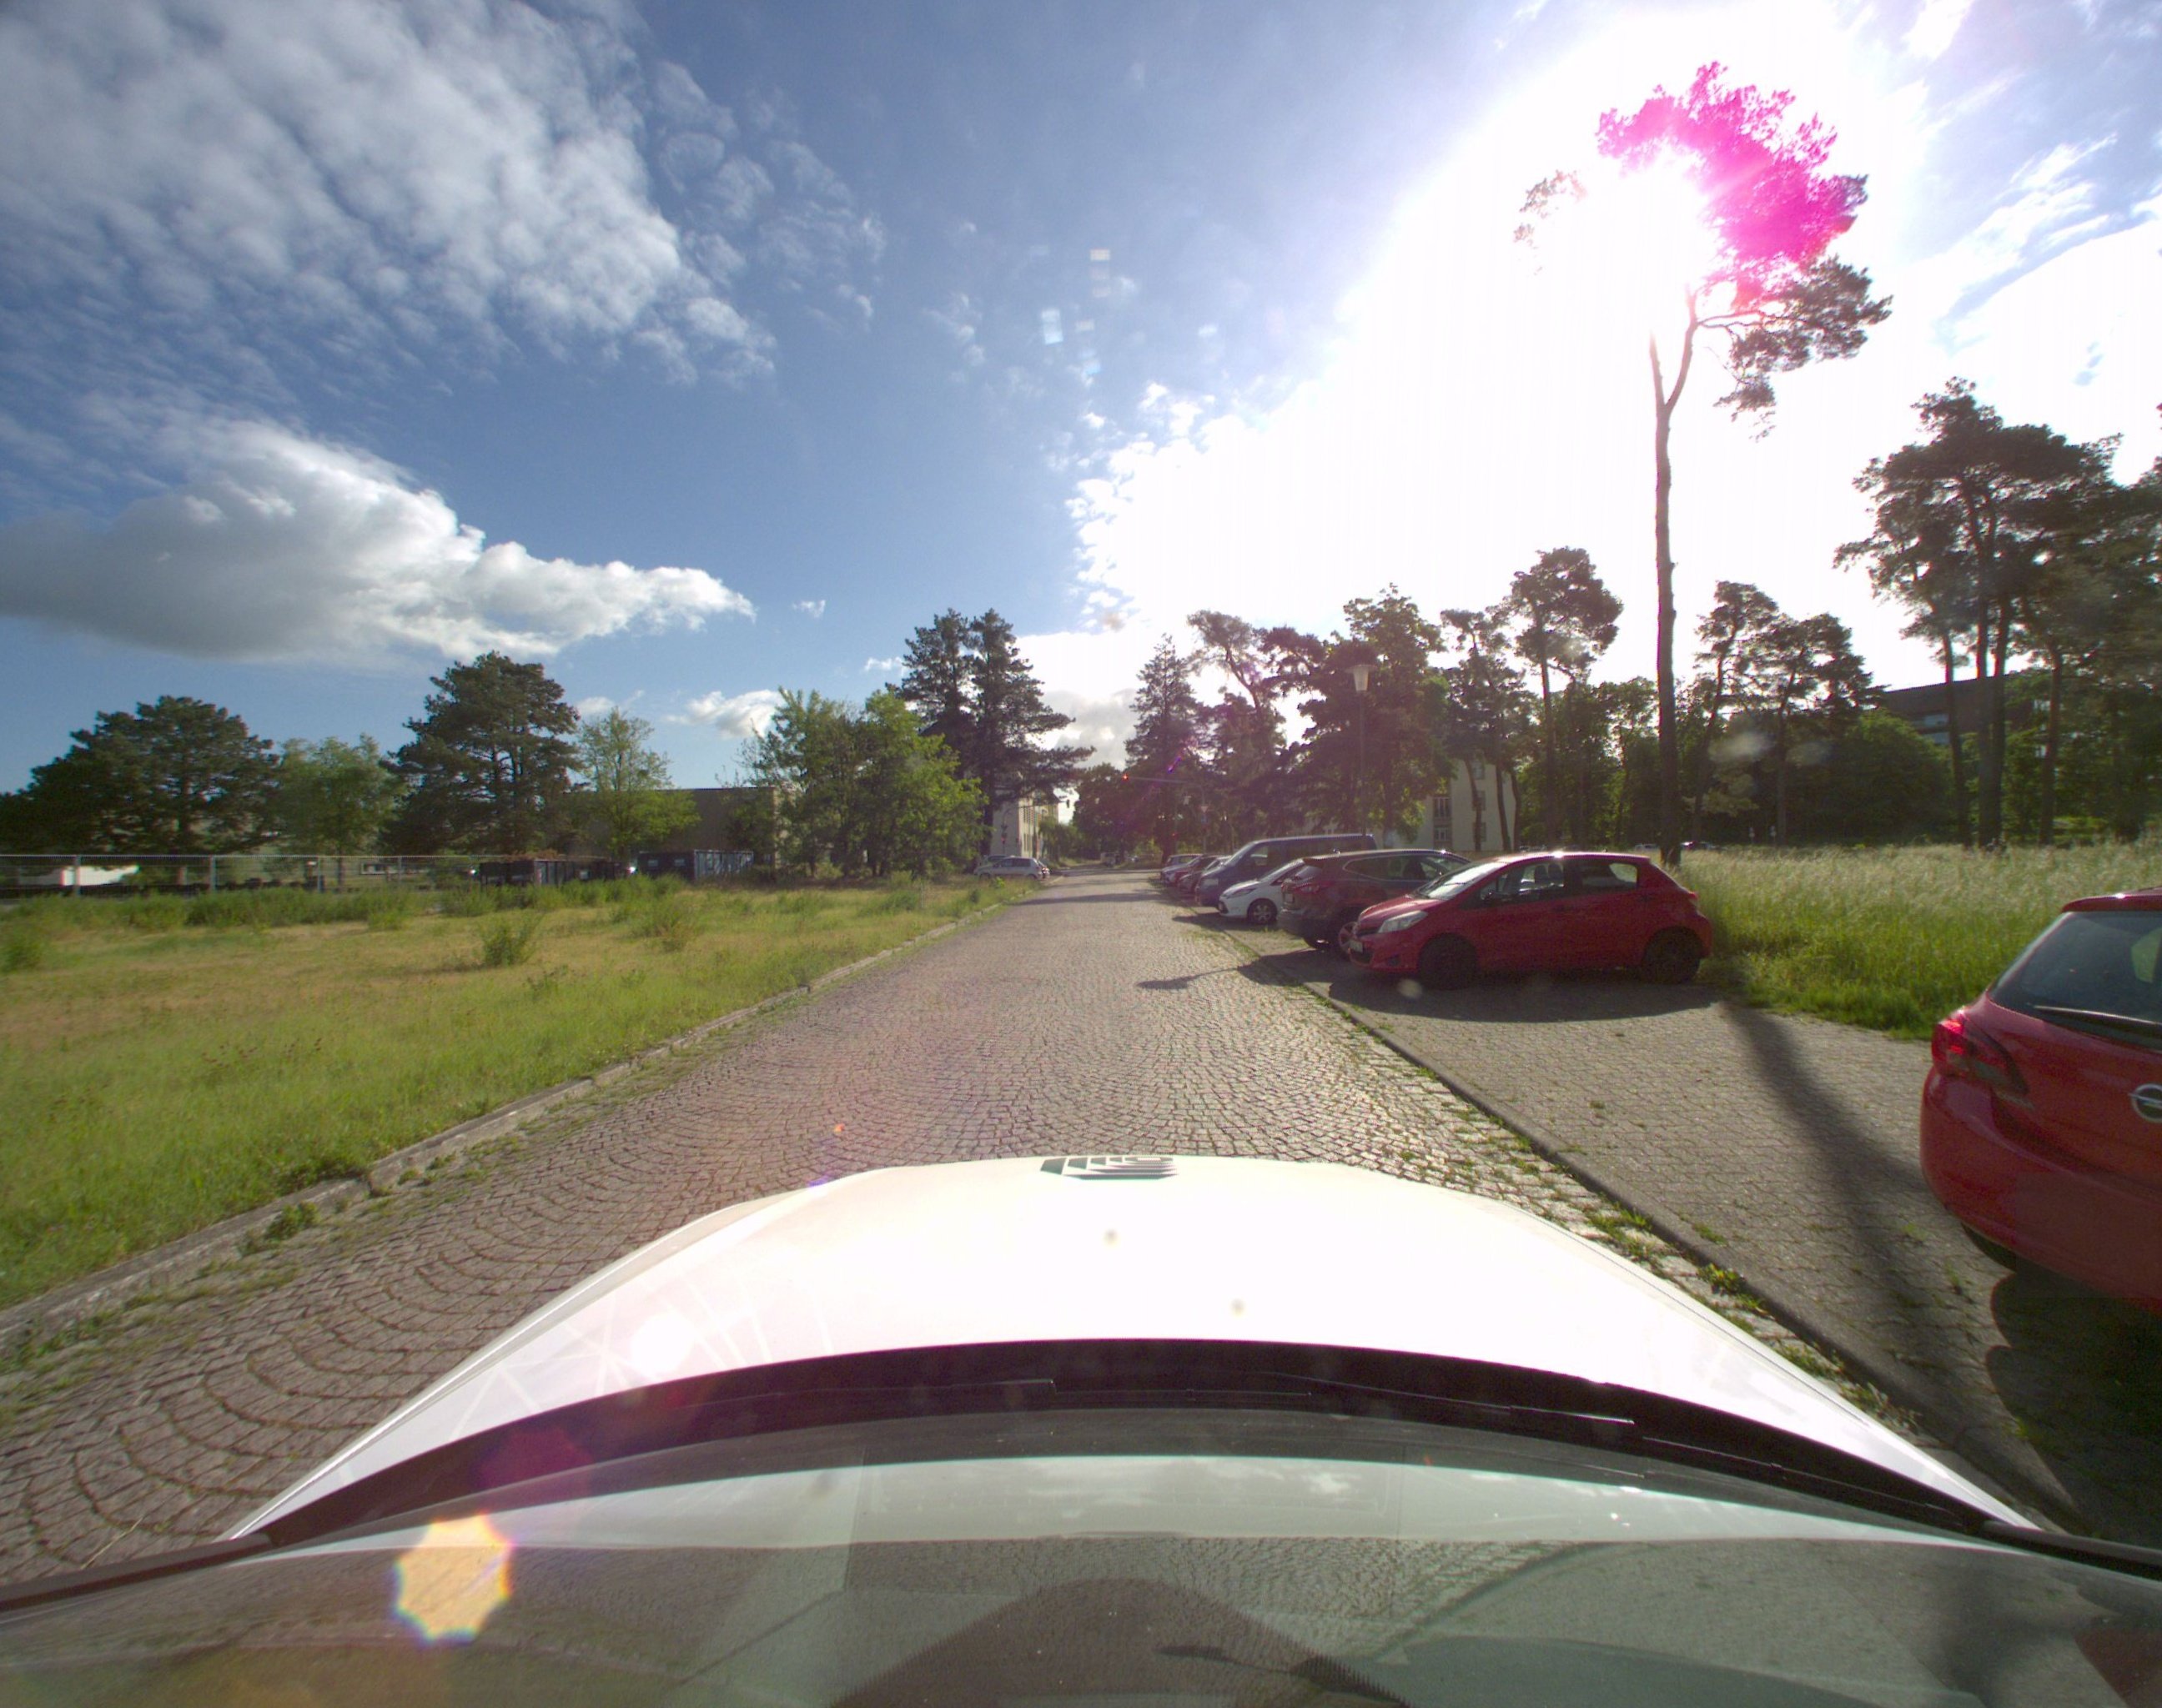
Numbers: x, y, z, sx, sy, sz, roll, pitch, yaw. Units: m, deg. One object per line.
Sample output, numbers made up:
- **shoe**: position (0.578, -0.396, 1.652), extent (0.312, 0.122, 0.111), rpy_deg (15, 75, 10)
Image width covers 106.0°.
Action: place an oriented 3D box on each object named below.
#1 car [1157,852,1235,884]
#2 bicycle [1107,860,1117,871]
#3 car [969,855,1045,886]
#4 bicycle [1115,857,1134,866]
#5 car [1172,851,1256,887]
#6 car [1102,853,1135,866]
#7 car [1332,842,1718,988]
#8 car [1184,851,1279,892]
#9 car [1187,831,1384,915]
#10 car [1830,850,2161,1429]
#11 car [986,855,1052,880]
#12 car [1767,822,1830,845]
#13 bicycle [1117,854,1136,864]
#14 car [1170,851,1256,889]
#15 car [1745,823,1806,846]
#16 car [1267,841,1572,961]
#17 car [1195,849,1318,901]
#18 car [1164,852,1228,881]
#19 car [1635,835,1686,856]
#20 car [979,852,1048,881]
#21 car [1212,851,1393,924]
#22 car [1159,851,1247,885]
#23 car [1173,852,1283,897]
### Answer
- **car**: position (5.956, 0.704, 42.565), extent (3.822, 1.529, 1.645), rpy_deg (-1, 0, 0)
- **bicycle**: position (3.428, 1.273, 90.843), extent (0.803, 1.169, 2.177), rpy_deg (-3, 0, -4)
- **car**: position (-4.023, 0.887, 44.696), extent (3.975, 1.600, 1.999), rpy_deg (-1, 0, -1)
- **bicycle**: position (5.043, 0.875, 94.266), extent (2.172, 1.100, 0.805), rpy_deg (-1, 0, -8)
- **car**: position (6.115, 0.676, 37.707), extent (3.590, 1.529, 1.645), rpy_deg (-1, 0, 0)
- **car**: position (5.178, 0.700, 111.749), extent (4.464, 1.728, 2.001), rpy_deg (-1, 0, 1)
- **car**: position (5.144, 0.670, 9.809), extent (3.748, 1.530, 1.646), rpy_deg (-1, 0, 1)
- **car**: position (5.966, 0.679, 32.554), extent (3.466, 1.529, 1.645), rpy_deg (-1, 0, 0)
- **car**: position (5.313, 0.470, 21.579), extent (4.663, 2.013, 2.083), rpy_deg (-1, 0, -1)
- **car**: position (4.719, 0.700, 2.204), extent (3.813, 1.478, 1.646), rpy_deg (-2, 0, 1)
- **car**: position (-3.949, 0.848, 52.491), extent (3.972, 1.453, 2.001), rpy_deg (2, 0, 1)
- **car**: position (65.117, -1.849, 73.945), extent (3.972, 2.013, 2.001), rpy_deg (-1, 0, 1)
- **bicycle**: position (5.331, 0.584, 95.565), extent (2.172, 1.100, 0.805), rpy_deg (-1, 0, -8)
- **car**: position (5.684, 0.684, 35.255), extent (3.466, 1.529, 1.645), rpy_deg (-1, 0, 0)
- **car**: position (65.007, -1.838, 76.250), extent (3.972, 2.013, 2.001), rpy_deg (-1, 0, 1)
- **car**: position (5.023, 0.670, 12.481), extent (3.922, 1.621, 1.772), rpy_deg (-1, 0, 0)
- **car**: position (5.703, 0.664, 26.750), extent (3.679, 1.465, 1.646), rpy_deg (-3, 0, 2)
- **car**: position (6.354, 0.674, 45.198), extent (3.332, 1.483, 1.645), rpy_deg (-1, 0, 0)
- **car**: position (61.223, -0.898, 86.130), extent (3.972, 2.013, 2.001), rpy_deg (-1, 0, 1)
- **car**: position (-4.109, 0.749, 50.092), extent (3.972, 1.601, 2.001), rpy_deg (2, 0, 1)
- **car**: position (5.054, 0.735, 18.904), extent (3.708, 1.488, 1.645), rpy_deg (-2, 0, -1)
- **car**: position (5.906, 0.681, 39.793), extent (4.023, 1.529, 1.644), rpy_deg (-1, 0, -2)
- **car**: position (5.294, 0.723, 29.650), extent (3.662, 1.467, 1.645), rpy_deg (-2, 0, 0)
